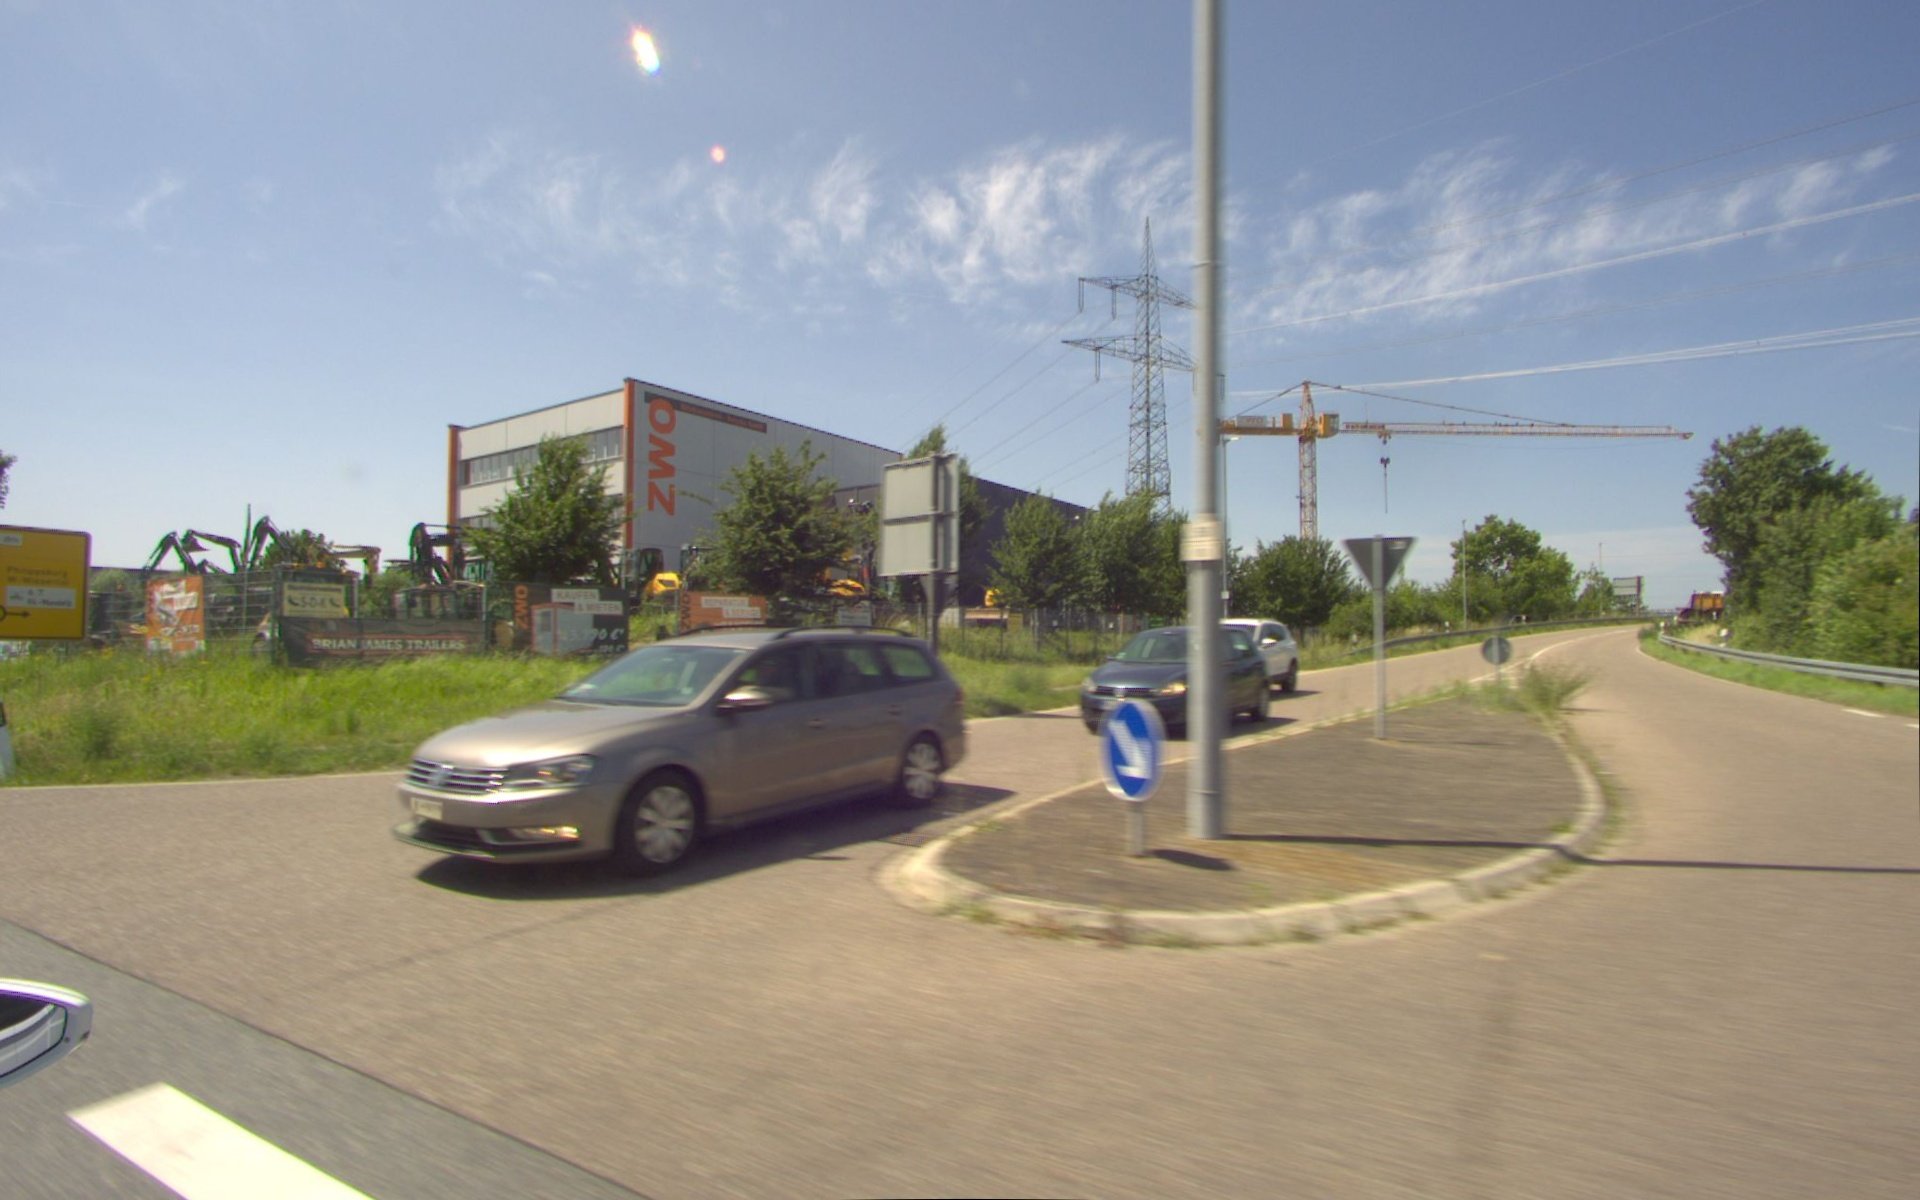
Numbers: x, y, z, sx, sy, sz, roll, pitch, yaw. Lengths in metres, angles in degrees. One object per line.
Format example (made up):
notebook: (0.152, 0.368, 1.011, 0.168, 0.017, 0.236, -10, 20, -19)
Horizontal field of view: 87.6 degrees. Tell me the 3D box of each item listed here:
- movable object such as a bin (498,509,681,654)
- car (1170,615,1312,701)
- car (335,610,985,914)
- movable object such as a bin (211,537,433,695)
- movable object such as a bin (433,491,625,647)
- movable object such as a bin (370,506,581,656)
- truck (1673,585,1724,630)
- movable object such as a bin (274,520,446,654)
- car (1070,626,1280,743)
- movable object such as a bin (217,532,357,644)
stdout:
movable object such as a bin: (-12.481, -0.422, 34.084, 2.798, 4.325, 5.075, -3, -6, 35)
car: (6.167, 1.187, 21.685, 1.734, 1.642, 4.074, 1, -1, 35)
car: (-1.784, 0.900, 7.456, 1.887, 1.527, 4.503, -1, -2, 33)
movable object such as a bin: (-14.722, 0.535, 23.064, 5.031, 3.288, 2.321, -3, -5, 32)
movable object such as a bin: (-16.245, -0.948, 38.113, 3.068, 5.164, 5.907, -3, -6, 35)
movable object such as a bin: (-19.359, -0.501, 40.366, 3.757, 5.207, 6.579, -3, -6, 35)
truck: (69.447, 0.792, 94.142, 3.010, 3.629, 8.369, -4, -6, 41)
movable object such as a bin: (-26.852, -0.381, 45.047, 3.180, 5.330, 5.706, -3, -6, 35)
car: (3.268, 1.121, 14.639, 1.613, 1.459, 3.989, -1, -2, 35)
movable object such as a bin: (-33.891, -0.449, 50.559, 2.742, 5.113, 5.075, -3, -5, 35)
